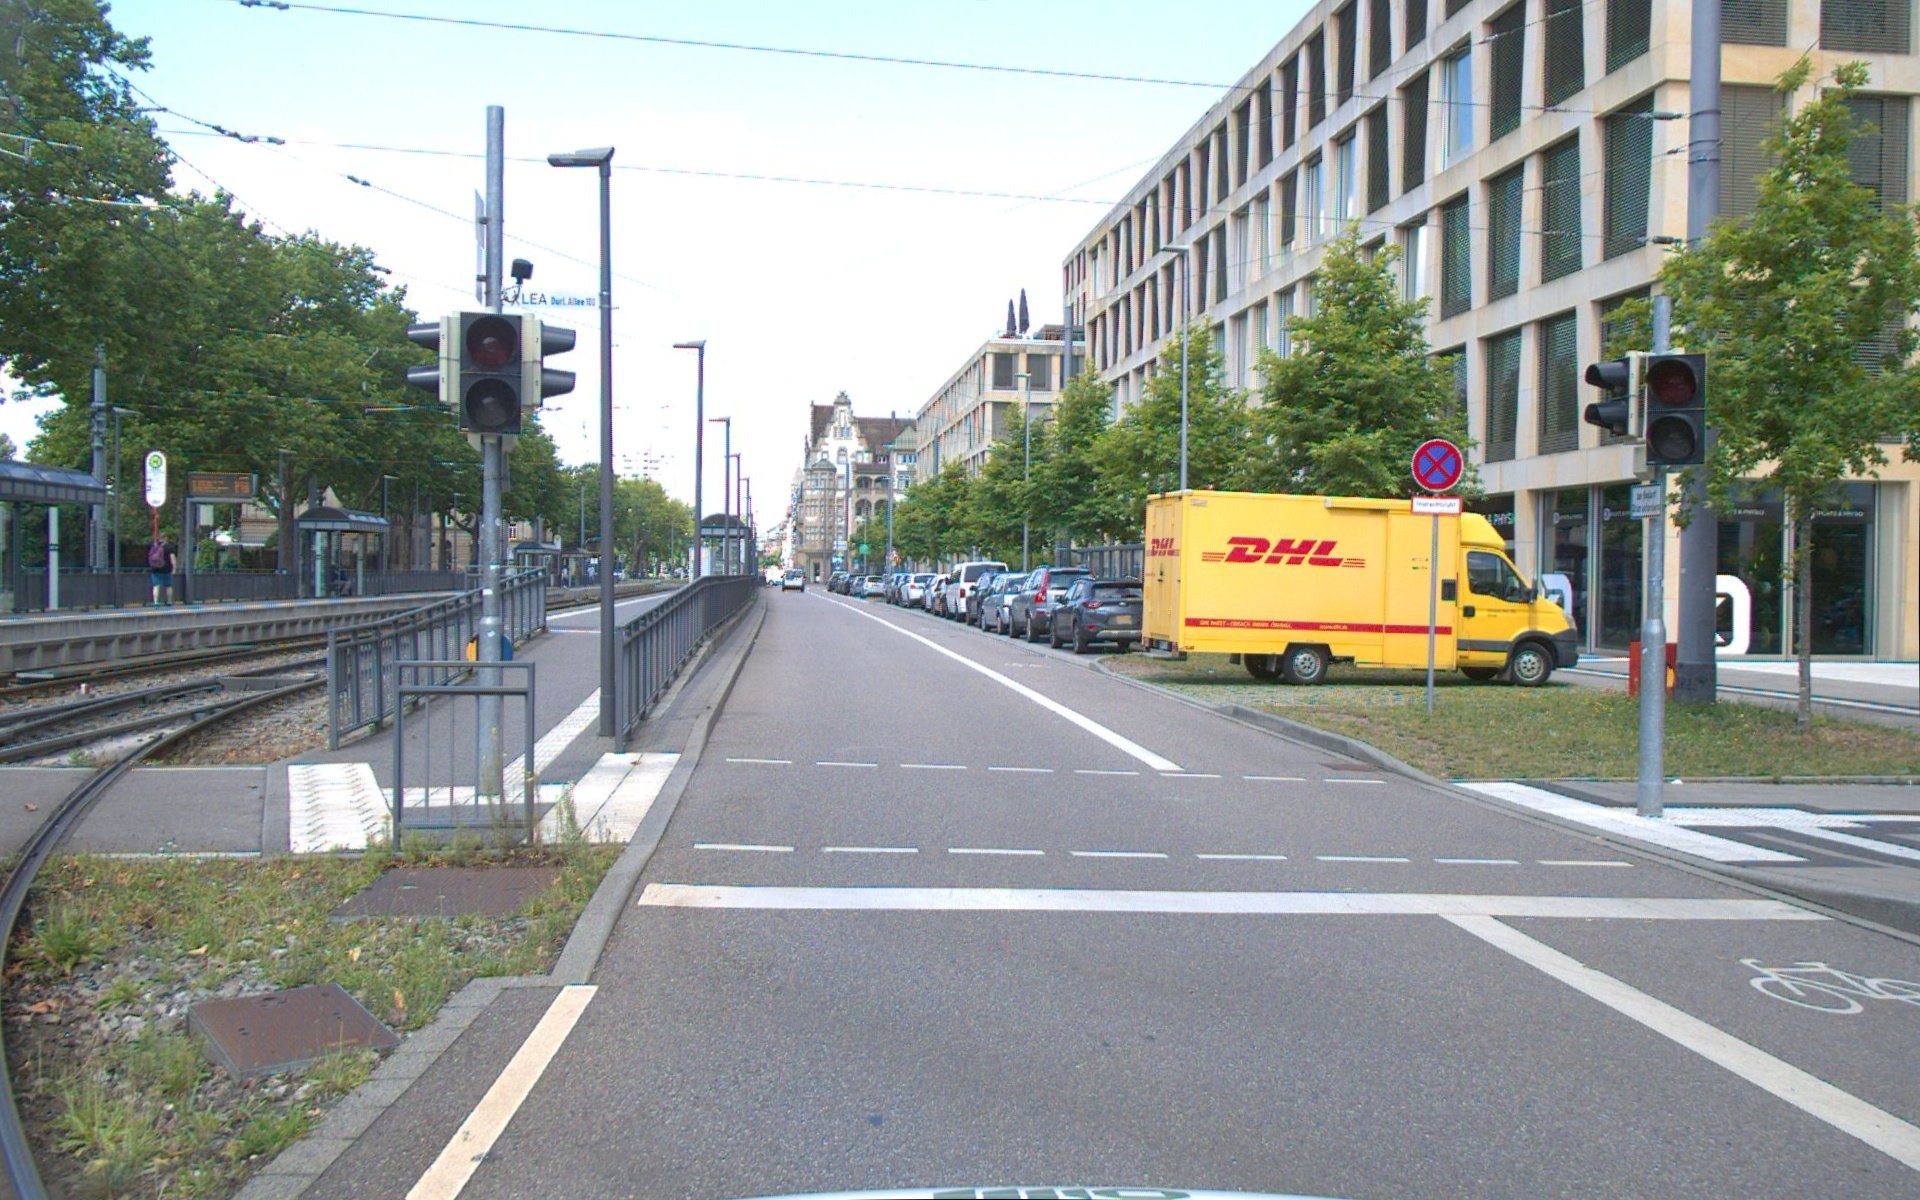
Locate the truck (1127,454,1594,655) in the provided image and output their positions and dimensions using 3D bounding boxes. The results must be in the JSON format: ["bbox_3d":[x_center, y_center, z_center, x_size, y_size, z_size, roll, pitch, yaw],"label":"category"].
[{"bbox_3d":[6.156,-0.623,25.795,6.681,2.917,2.449,0,-1,-10],"label":"truck"}]

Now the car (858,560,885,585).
[{"bbox_3d":[-5.888,-1.811,109.740,1.560,1.486,3.608,2,-1,-6],"label":"car"}]

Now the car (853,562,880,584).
[{"bbox_3d":[-6.837,-1.990,120.905,1.562,1.459,4.098,2,-1,-9],"label":"car"}]

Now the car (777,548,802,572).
[{"bbox_3d":[-13.879,-3.262,134.453,1.833,1.777,3.993,2,-1,-8],"label":"car"}]

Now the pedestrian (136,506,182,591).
[{"bbox_3d":[-17.916,-1.156,37.016,0.693,1.877,0.863,0,1,-8],"label":"pedestrian"}]

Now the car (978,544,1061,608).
[{"bbox_3d":[1.599,-0.612,45.409,1.688,1.648,3.854,0,-1,-7],"label":"car"}]

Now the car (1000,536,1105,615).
[{"bbox_3d":[2.195,-0.529,40.356,1.735,1.798,4.832,0,-1,-7],"label":"car"}]

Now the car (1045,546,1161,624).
[{"bbox_3d":[2.958,-0.276,34.959,1.659,1.531,4.061,0,-1,-7],"label":"car"}]

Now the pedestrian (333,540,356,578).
[{"bbox_3d":[-21.461,-1.417,57.696,0.542,1.291,0.767,0,-1,-5],"label":"pedestrian"}]

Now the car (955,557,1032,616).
[{"bbox_3d":[0.966,-0.371,50.262,1.688,1.669,4.520,-1,0,-7],"label":"car"}]

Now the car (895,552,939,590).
[{"bbox_3d":[-2.028,-1.318,77.278,1.653,1.634,4.145,-1,0,-7],"label":"car"}]

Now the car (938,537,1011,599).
[{"bbox_3d":[0.444,-1.056,56.661,1.846,1.973,4.835,-1,0,-7],"label":"car"}]
